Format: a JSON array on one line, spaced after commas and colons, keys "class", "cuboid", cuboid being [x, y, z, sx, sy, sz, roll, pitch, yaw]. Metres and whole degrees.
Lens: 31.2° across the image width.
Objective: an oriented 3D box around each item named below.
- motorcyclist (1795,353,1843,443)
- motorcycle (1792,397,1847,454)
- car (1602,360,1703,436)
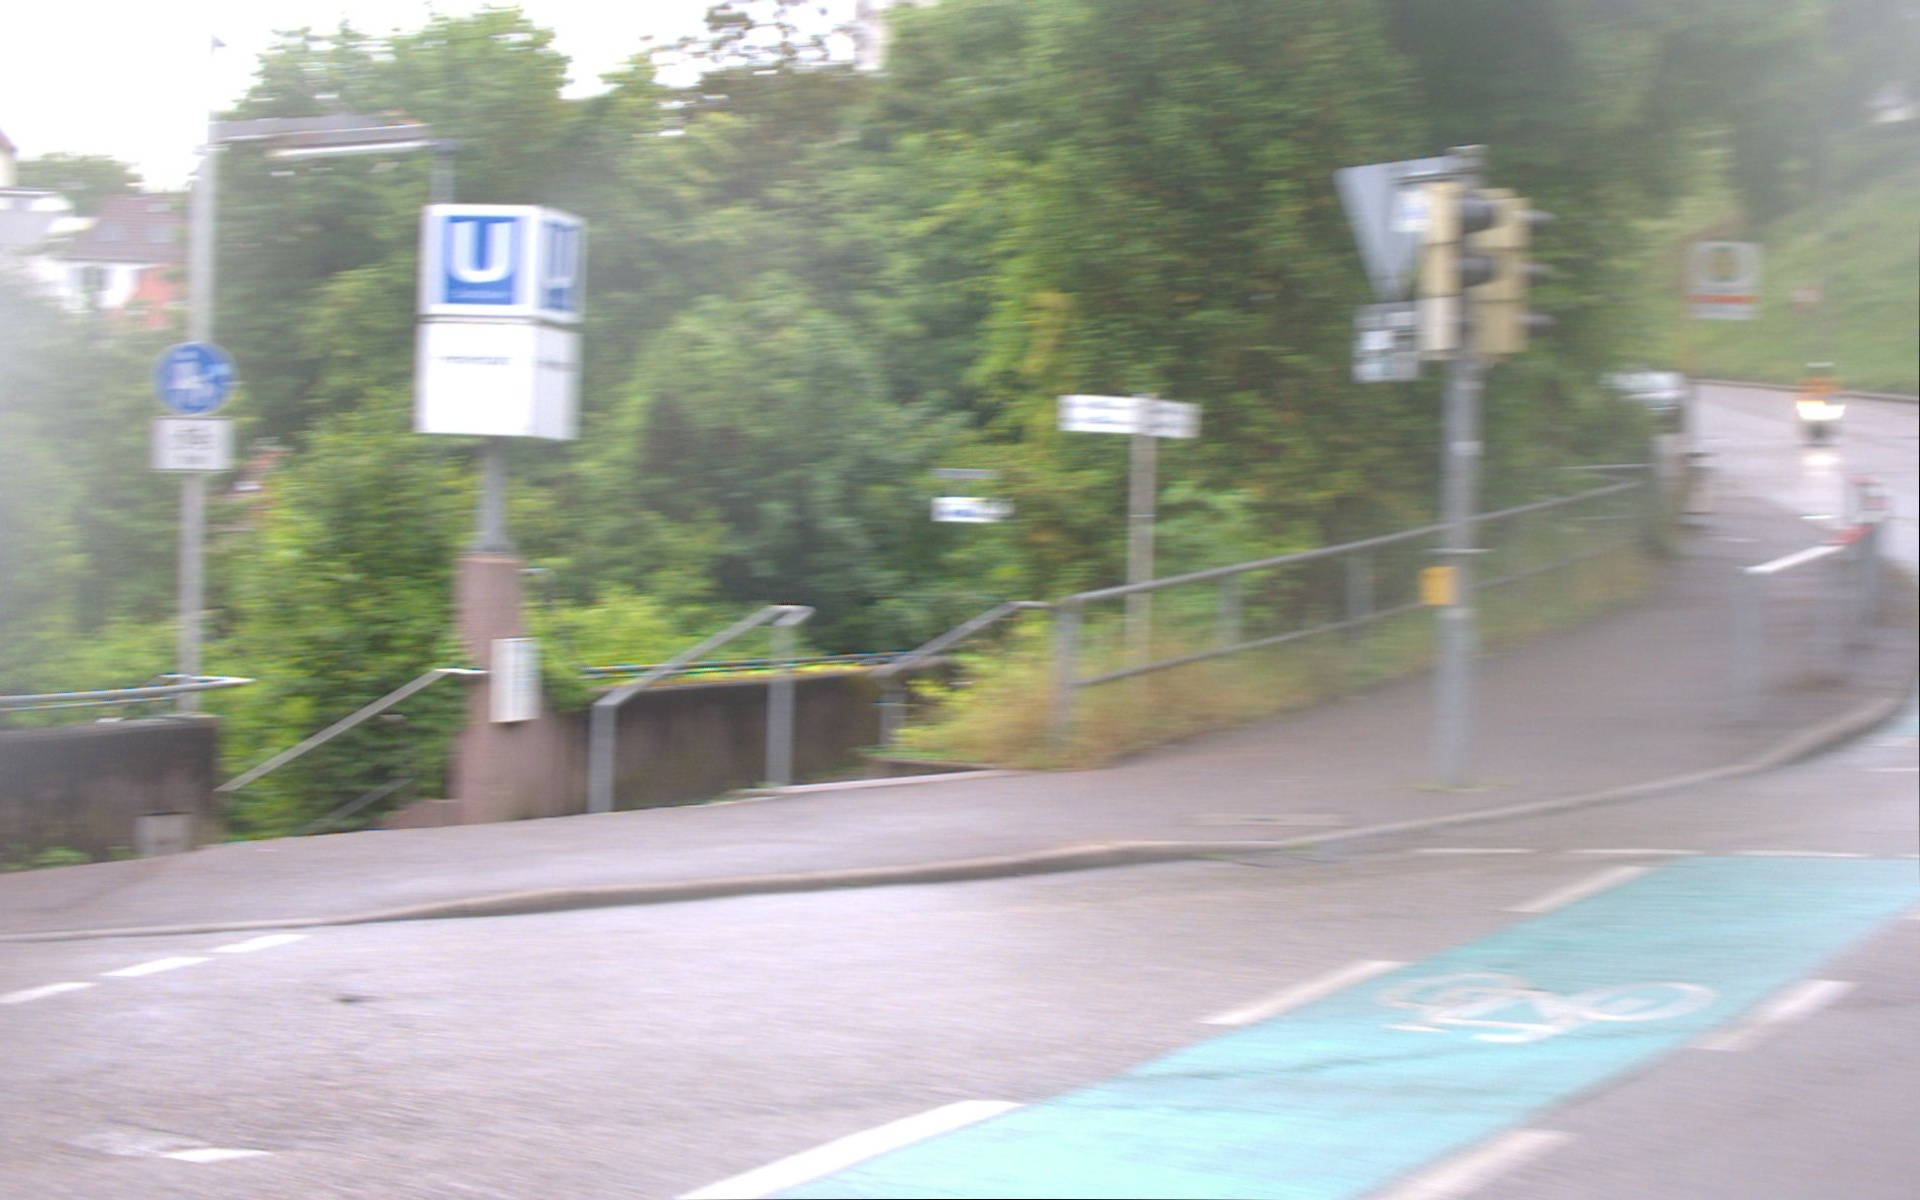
[{"class": "motorcyclist", "cuboid": [18.034, -4.245, 72.217, 0.884, 1.866, 1.254, 1, 4, 11]}, {"class": "motorcycle", "cuboid": [17.962, -3.660, 71.885, 0.939, 1.139, 2.645, 1, 4, 11]}, {"class": "car", "cuboid": [16.496, -4.845, 82.019, 1.836, 1.685, 4.001, -1, 5, 4]}]
